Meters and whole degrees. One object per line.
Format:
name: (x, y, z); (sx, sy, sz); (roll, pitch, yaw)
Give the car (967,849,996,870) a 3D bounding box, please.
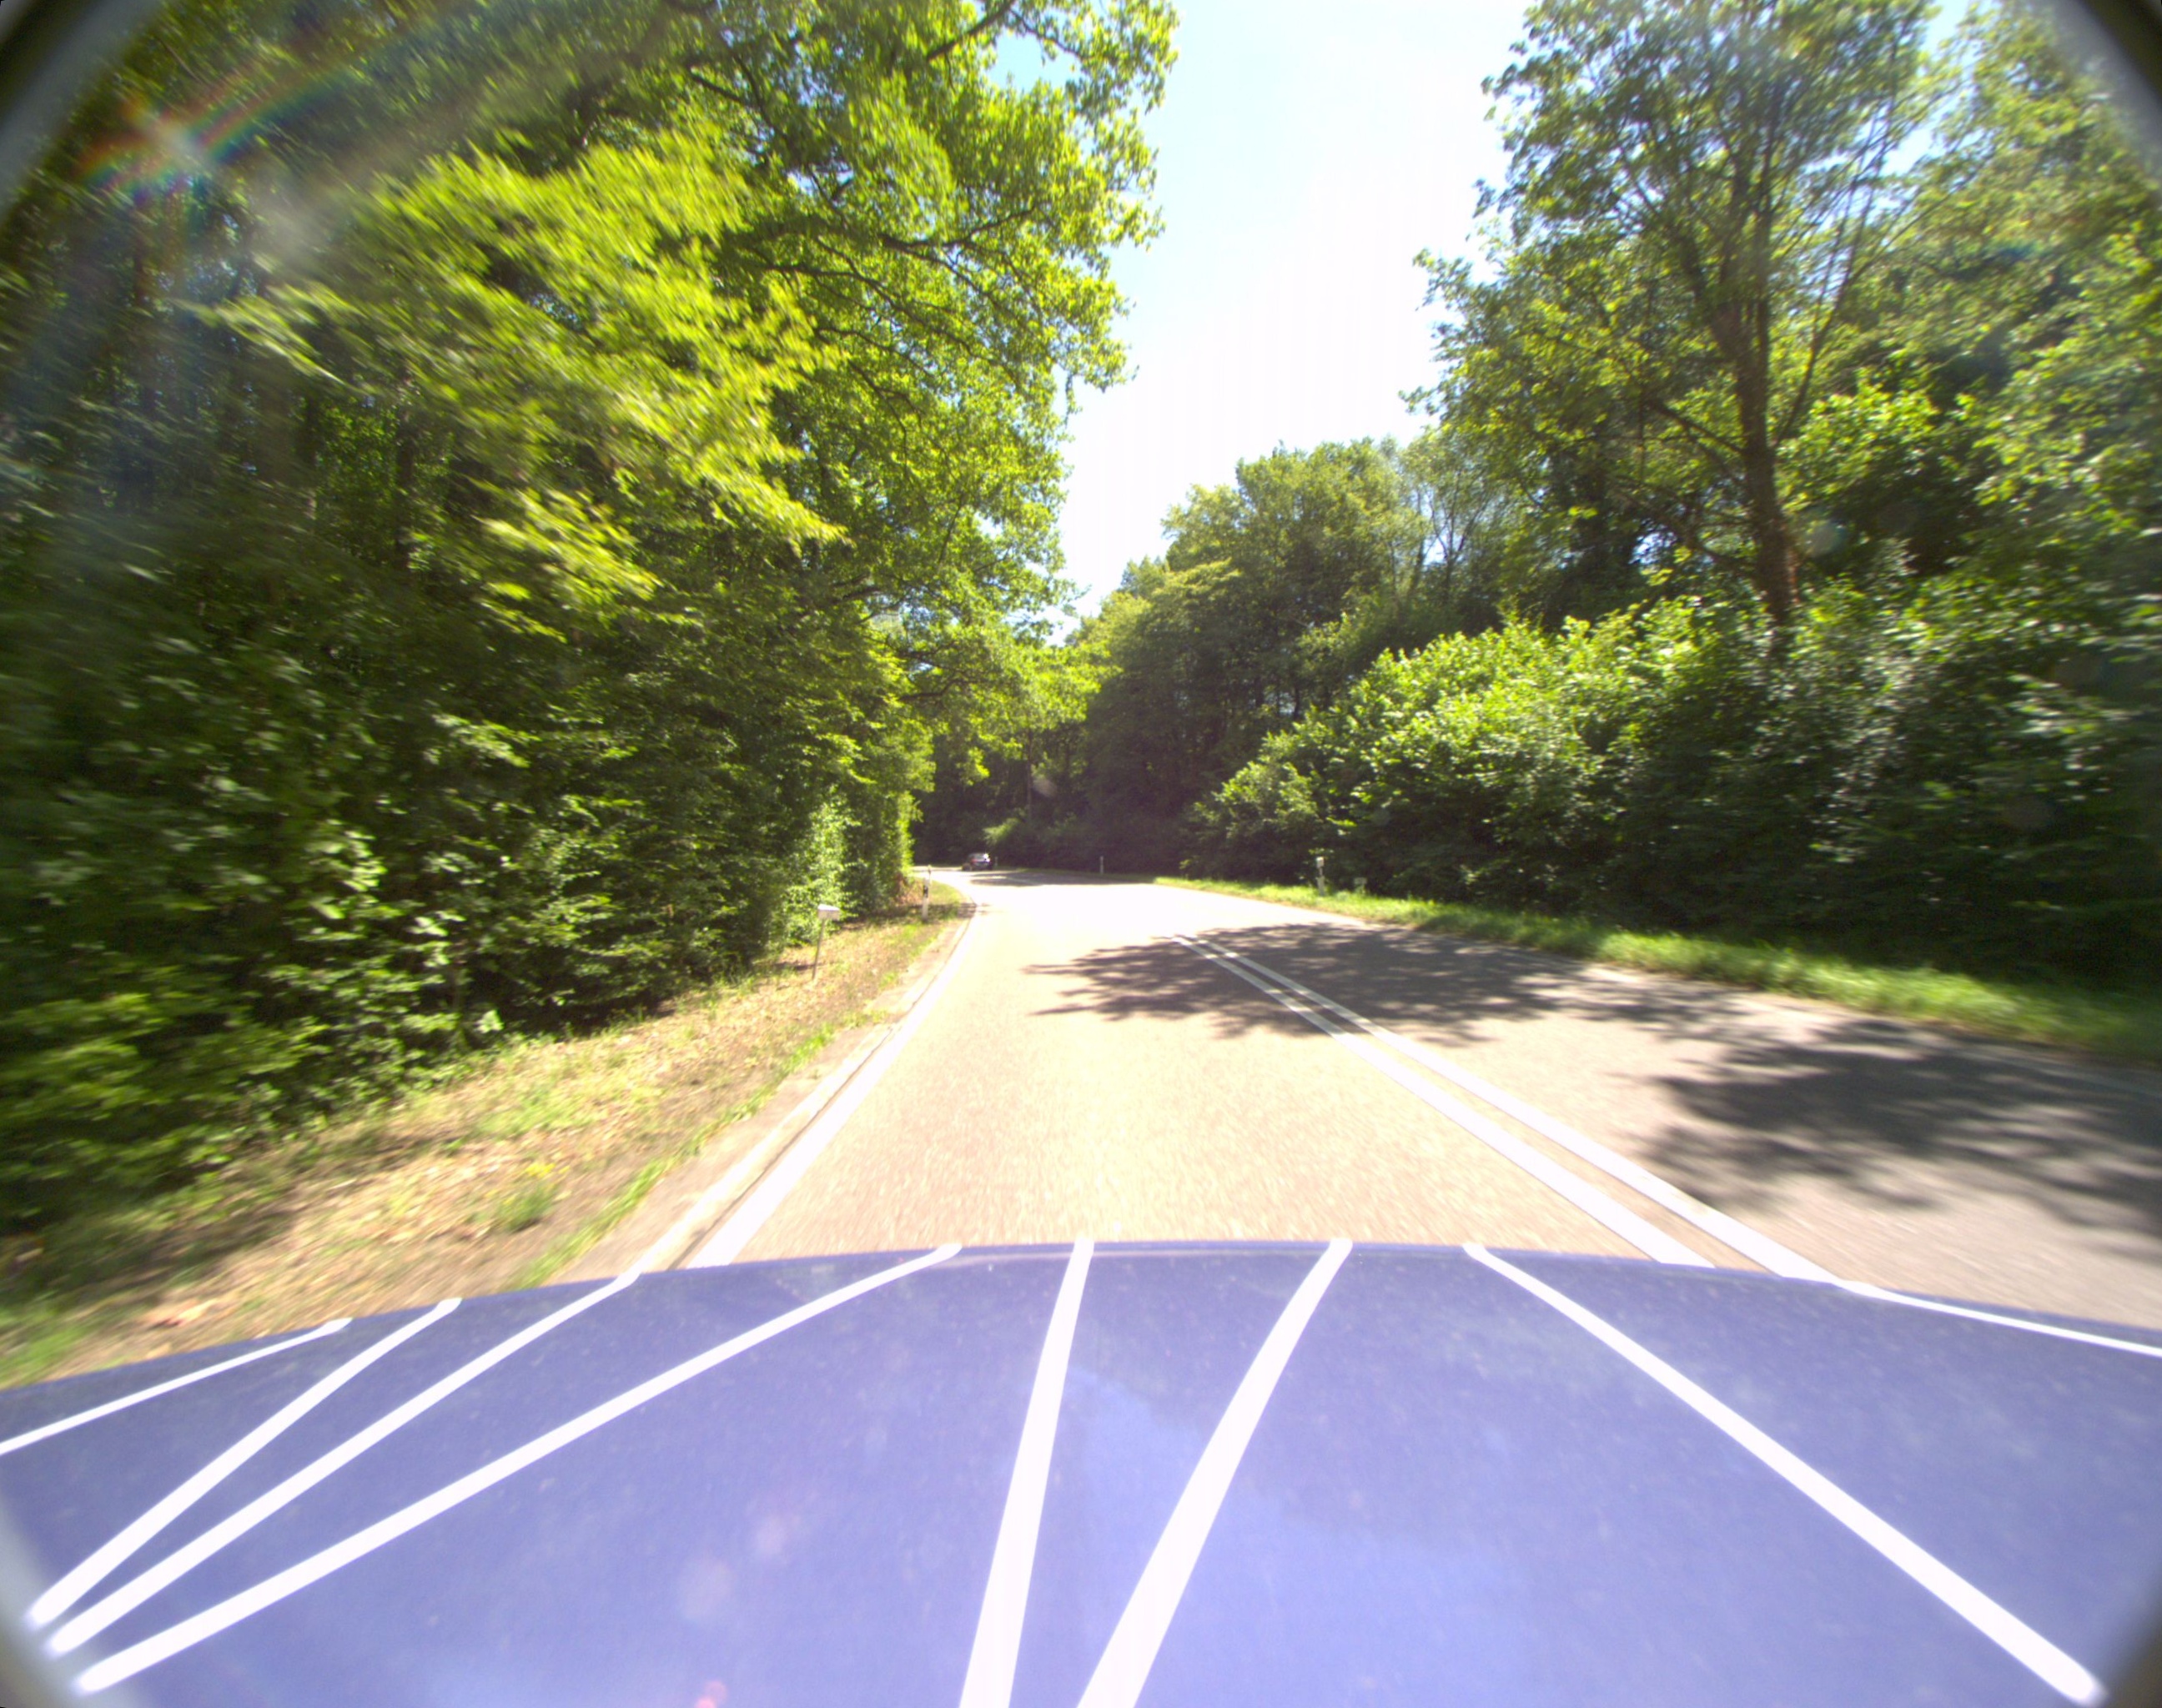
car: (-7.962, 0.422, 60.405); (1.684, 1.565, 3.888); (0, 1, -17)
